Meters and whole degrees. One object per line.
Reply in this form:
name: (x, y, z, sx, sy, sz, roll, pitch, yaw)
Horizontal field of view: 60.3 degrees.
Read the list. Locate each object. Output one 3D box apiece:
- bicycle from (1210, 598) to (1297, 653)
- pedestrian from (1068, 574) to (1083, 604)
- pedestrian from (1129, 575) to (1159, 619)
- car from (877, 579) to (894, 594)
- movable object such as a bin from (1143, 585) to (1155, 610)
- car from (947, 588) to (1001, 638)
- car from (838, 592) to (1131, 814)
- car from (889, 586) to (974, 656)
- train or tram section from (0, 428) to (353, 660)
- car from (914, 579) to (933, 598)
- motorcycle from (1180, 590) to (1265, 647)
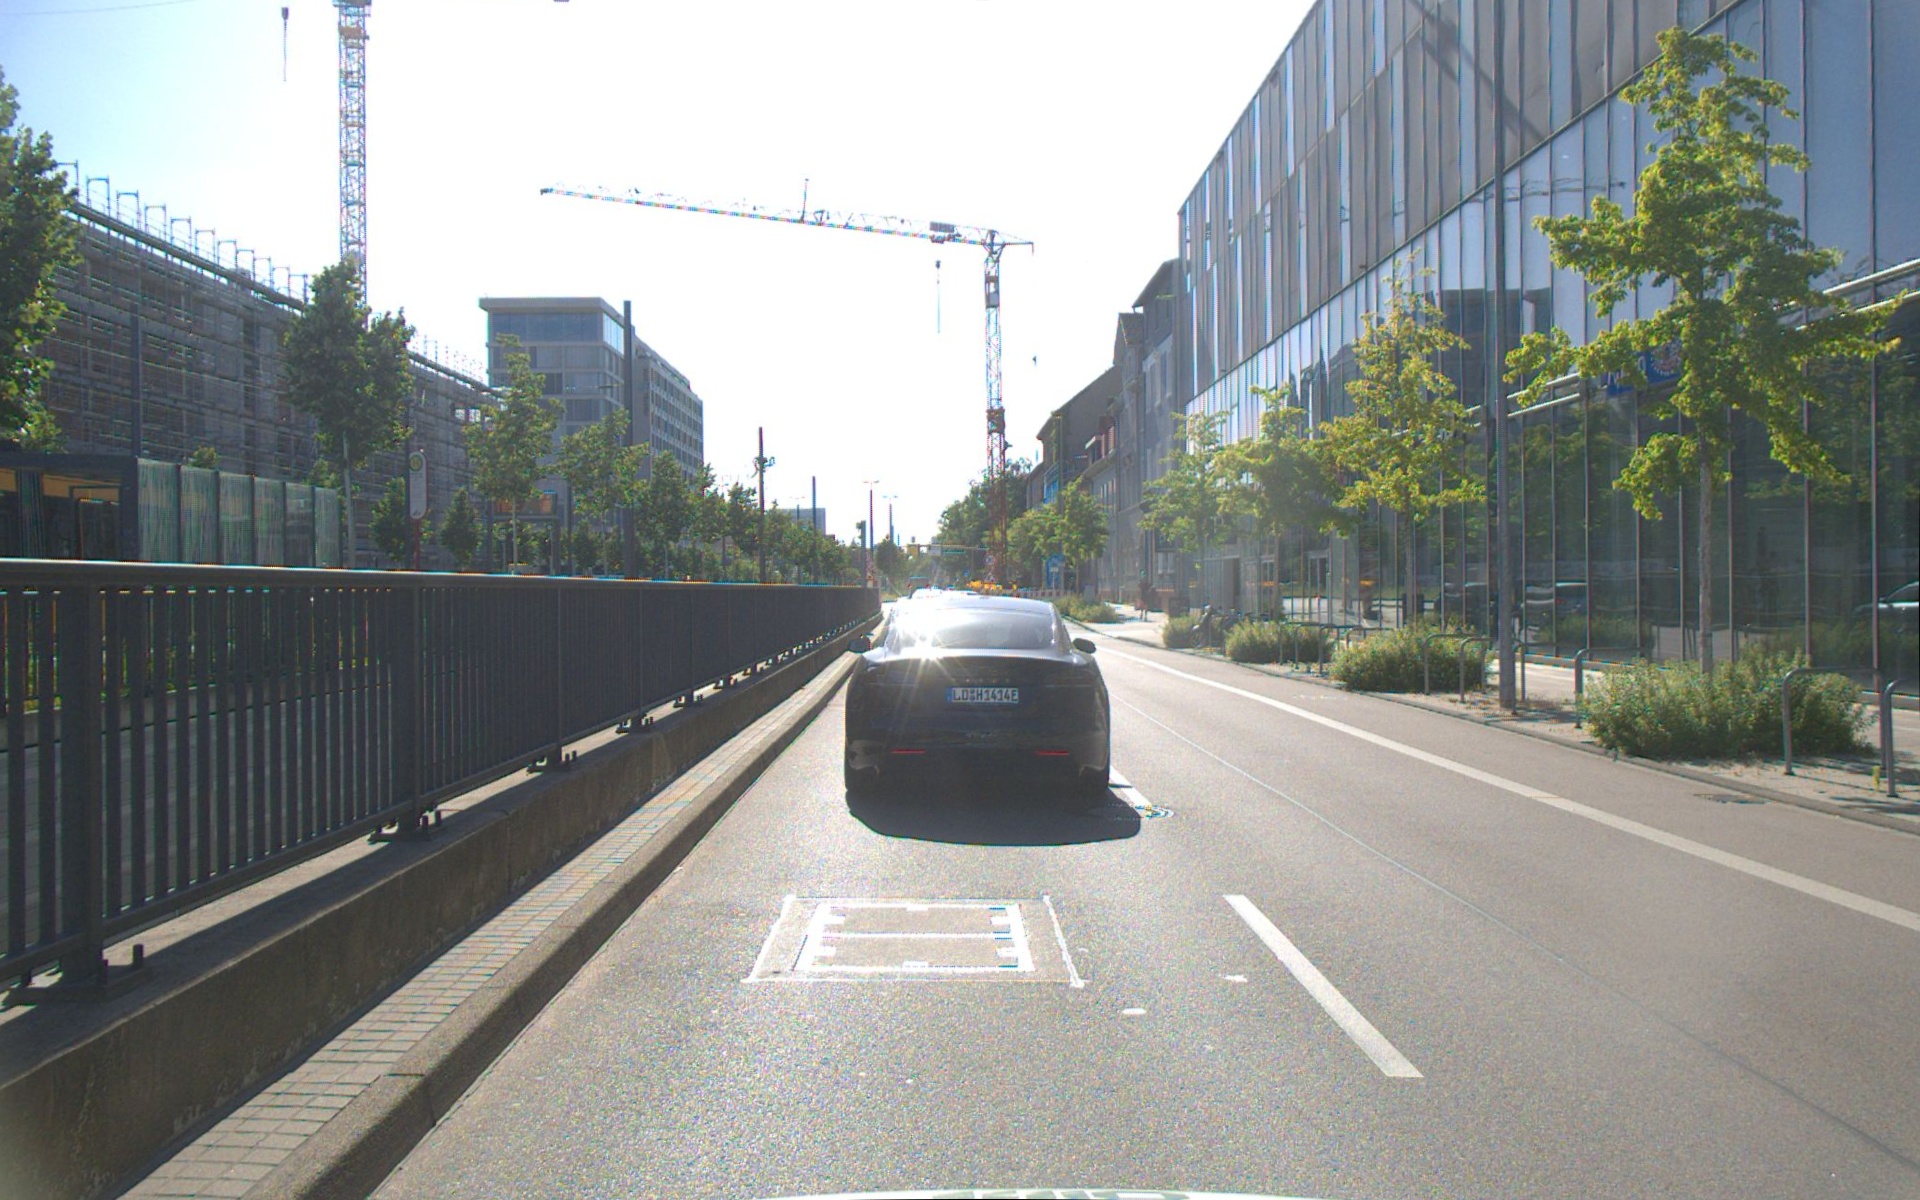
bicycle: (6.855, 0.586, 38.613, 1.848, 1.171, 0.670, -2, 0, -11)
pedestrian: (7.383, -0.722, 105.898, 0.834, 1.896, 0.929, -1, 0, -2)
pedestrian: (8.090, -0.146, 72.810, 1.073, 1.896, 1.522, -1, 0, -2)
car: (-9.155, -1.666, 203.254, 1.953, 1.713, 3.998, 1, 0, -2)
movable object such as a bin: (9.107, -0.124, 79.611, 0.547, 1.189, 0.562, 1, 0, 3)
car: (0.475, 0.392, 55.567, 1.748, 1.573, 4.039, 0, 1, 0)
car: (0.259, 0.679, 13.310, 1.957, 1.459, 4.414, 0, 1, 2)
car: (-0.567, 0.405, 34.927, 1.681, 1.343, 4.000, 0, 1, 0)
train or tram section: (-15.237, -0.862, 26.914, 2.812, 3.336, 22.140, 1, 1, -1)
car: (-3.660, -1.183, 167.086, 1.776, 1.841, 4.039, 0, 1, 0)
motorcycle: (6.868, 0.477, 43.253, 2.030, 1.377, 0.652, -3, 0, 22)
